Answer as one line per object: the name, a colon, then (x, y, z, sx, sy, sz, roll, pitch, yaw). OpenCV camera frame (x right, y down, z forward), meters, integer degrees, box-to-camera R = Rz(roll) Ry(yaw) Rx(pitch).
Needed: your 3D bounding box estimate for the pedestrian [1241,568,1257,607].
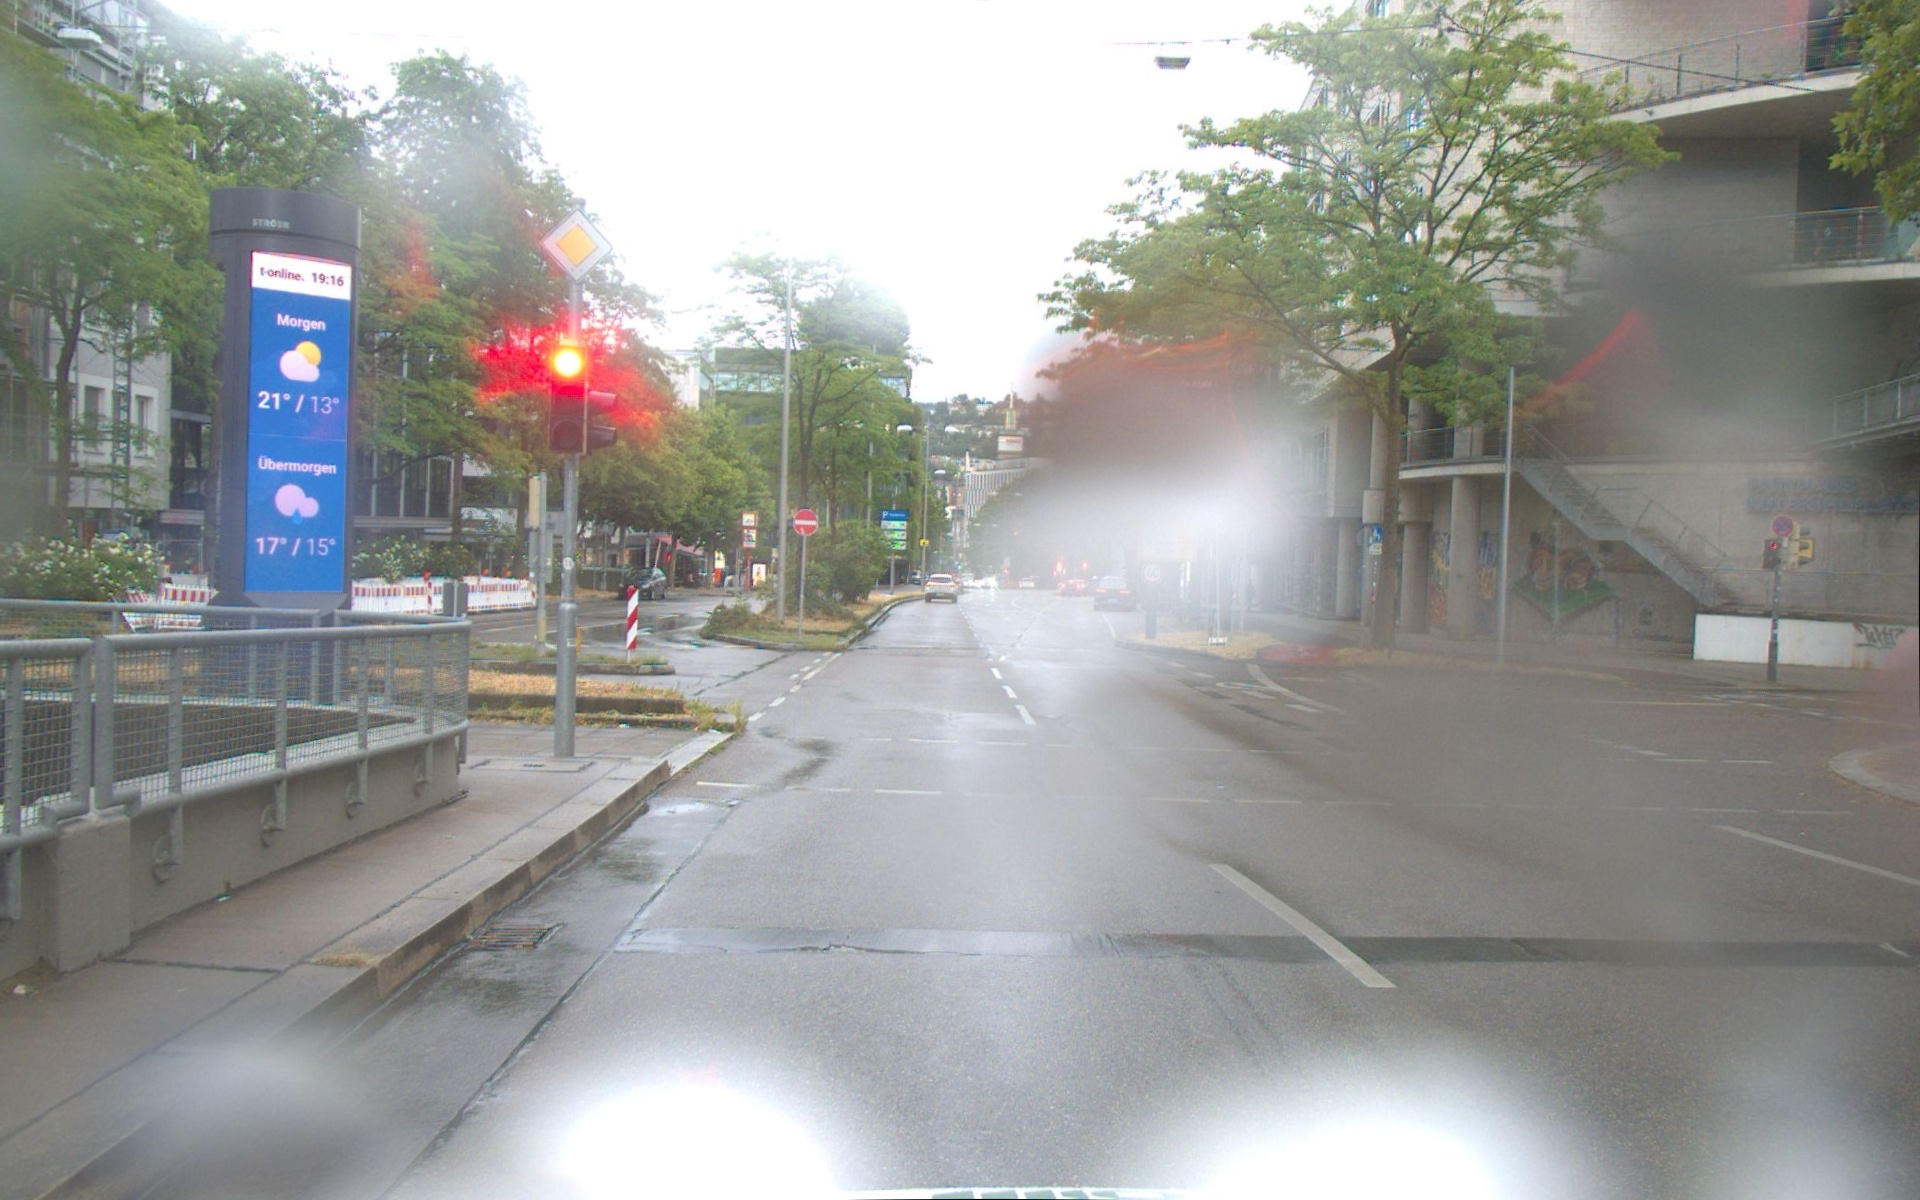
pedestrian: (14.842, -0.634, 84.981, 0.759, 1.954, 0.703, 1, -1, 9)

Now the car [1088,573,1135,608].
car: (7.670, -0.494, 83.549, 2.288, 1.720, 4.003, 1, 1, 6)

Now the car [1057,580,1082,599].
car: (10.321, -0.989, 155.818, 1.953, 1.754, 3.999, 1, 0, -2)

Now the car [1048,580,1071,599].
car: (10.030, -1.055, 166.971, 1.953, 1.766, 3.999, 1, 0, -1)

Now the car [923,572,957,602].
car: (-1.212, -0.762, 97.123, 1.792, 1.668, 4.298, 2, 0, -3)

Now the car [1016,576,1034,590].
car: (8.416, -2.183, 215.227, 1.953, 1.789, 3.999, 2, 0, -2)
